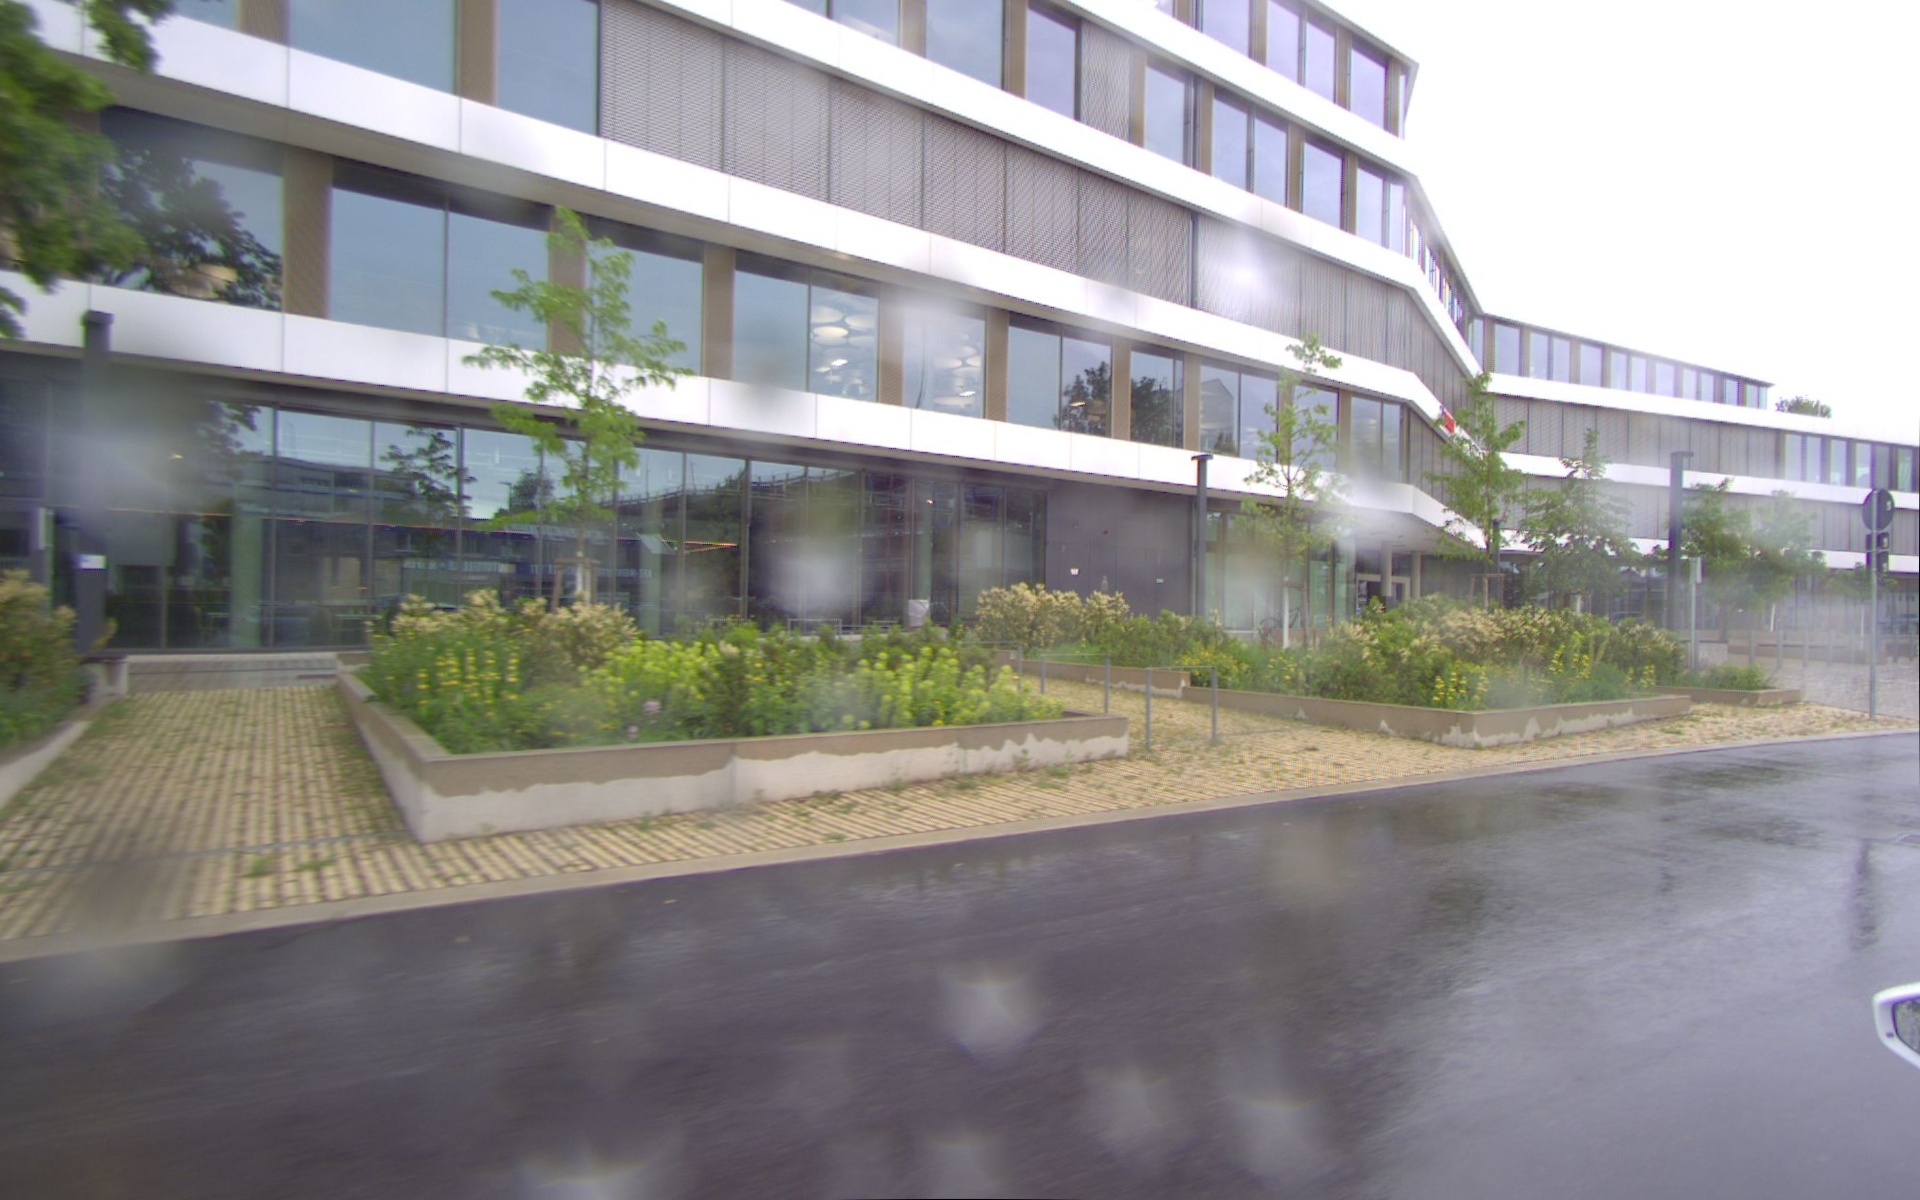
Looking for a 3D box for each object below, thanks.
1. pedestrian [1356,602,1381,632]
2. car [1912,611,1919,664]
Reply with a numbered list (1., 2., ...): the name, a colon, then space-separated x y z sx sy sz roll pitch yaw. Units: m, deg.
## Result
1. pedestrian: 19.003 0.780 46.705 0.882 1.332 1.059 5 2 29
2. car: 28.253 1.063 26.735 1.877 1.442 3.905 1 0 -33
